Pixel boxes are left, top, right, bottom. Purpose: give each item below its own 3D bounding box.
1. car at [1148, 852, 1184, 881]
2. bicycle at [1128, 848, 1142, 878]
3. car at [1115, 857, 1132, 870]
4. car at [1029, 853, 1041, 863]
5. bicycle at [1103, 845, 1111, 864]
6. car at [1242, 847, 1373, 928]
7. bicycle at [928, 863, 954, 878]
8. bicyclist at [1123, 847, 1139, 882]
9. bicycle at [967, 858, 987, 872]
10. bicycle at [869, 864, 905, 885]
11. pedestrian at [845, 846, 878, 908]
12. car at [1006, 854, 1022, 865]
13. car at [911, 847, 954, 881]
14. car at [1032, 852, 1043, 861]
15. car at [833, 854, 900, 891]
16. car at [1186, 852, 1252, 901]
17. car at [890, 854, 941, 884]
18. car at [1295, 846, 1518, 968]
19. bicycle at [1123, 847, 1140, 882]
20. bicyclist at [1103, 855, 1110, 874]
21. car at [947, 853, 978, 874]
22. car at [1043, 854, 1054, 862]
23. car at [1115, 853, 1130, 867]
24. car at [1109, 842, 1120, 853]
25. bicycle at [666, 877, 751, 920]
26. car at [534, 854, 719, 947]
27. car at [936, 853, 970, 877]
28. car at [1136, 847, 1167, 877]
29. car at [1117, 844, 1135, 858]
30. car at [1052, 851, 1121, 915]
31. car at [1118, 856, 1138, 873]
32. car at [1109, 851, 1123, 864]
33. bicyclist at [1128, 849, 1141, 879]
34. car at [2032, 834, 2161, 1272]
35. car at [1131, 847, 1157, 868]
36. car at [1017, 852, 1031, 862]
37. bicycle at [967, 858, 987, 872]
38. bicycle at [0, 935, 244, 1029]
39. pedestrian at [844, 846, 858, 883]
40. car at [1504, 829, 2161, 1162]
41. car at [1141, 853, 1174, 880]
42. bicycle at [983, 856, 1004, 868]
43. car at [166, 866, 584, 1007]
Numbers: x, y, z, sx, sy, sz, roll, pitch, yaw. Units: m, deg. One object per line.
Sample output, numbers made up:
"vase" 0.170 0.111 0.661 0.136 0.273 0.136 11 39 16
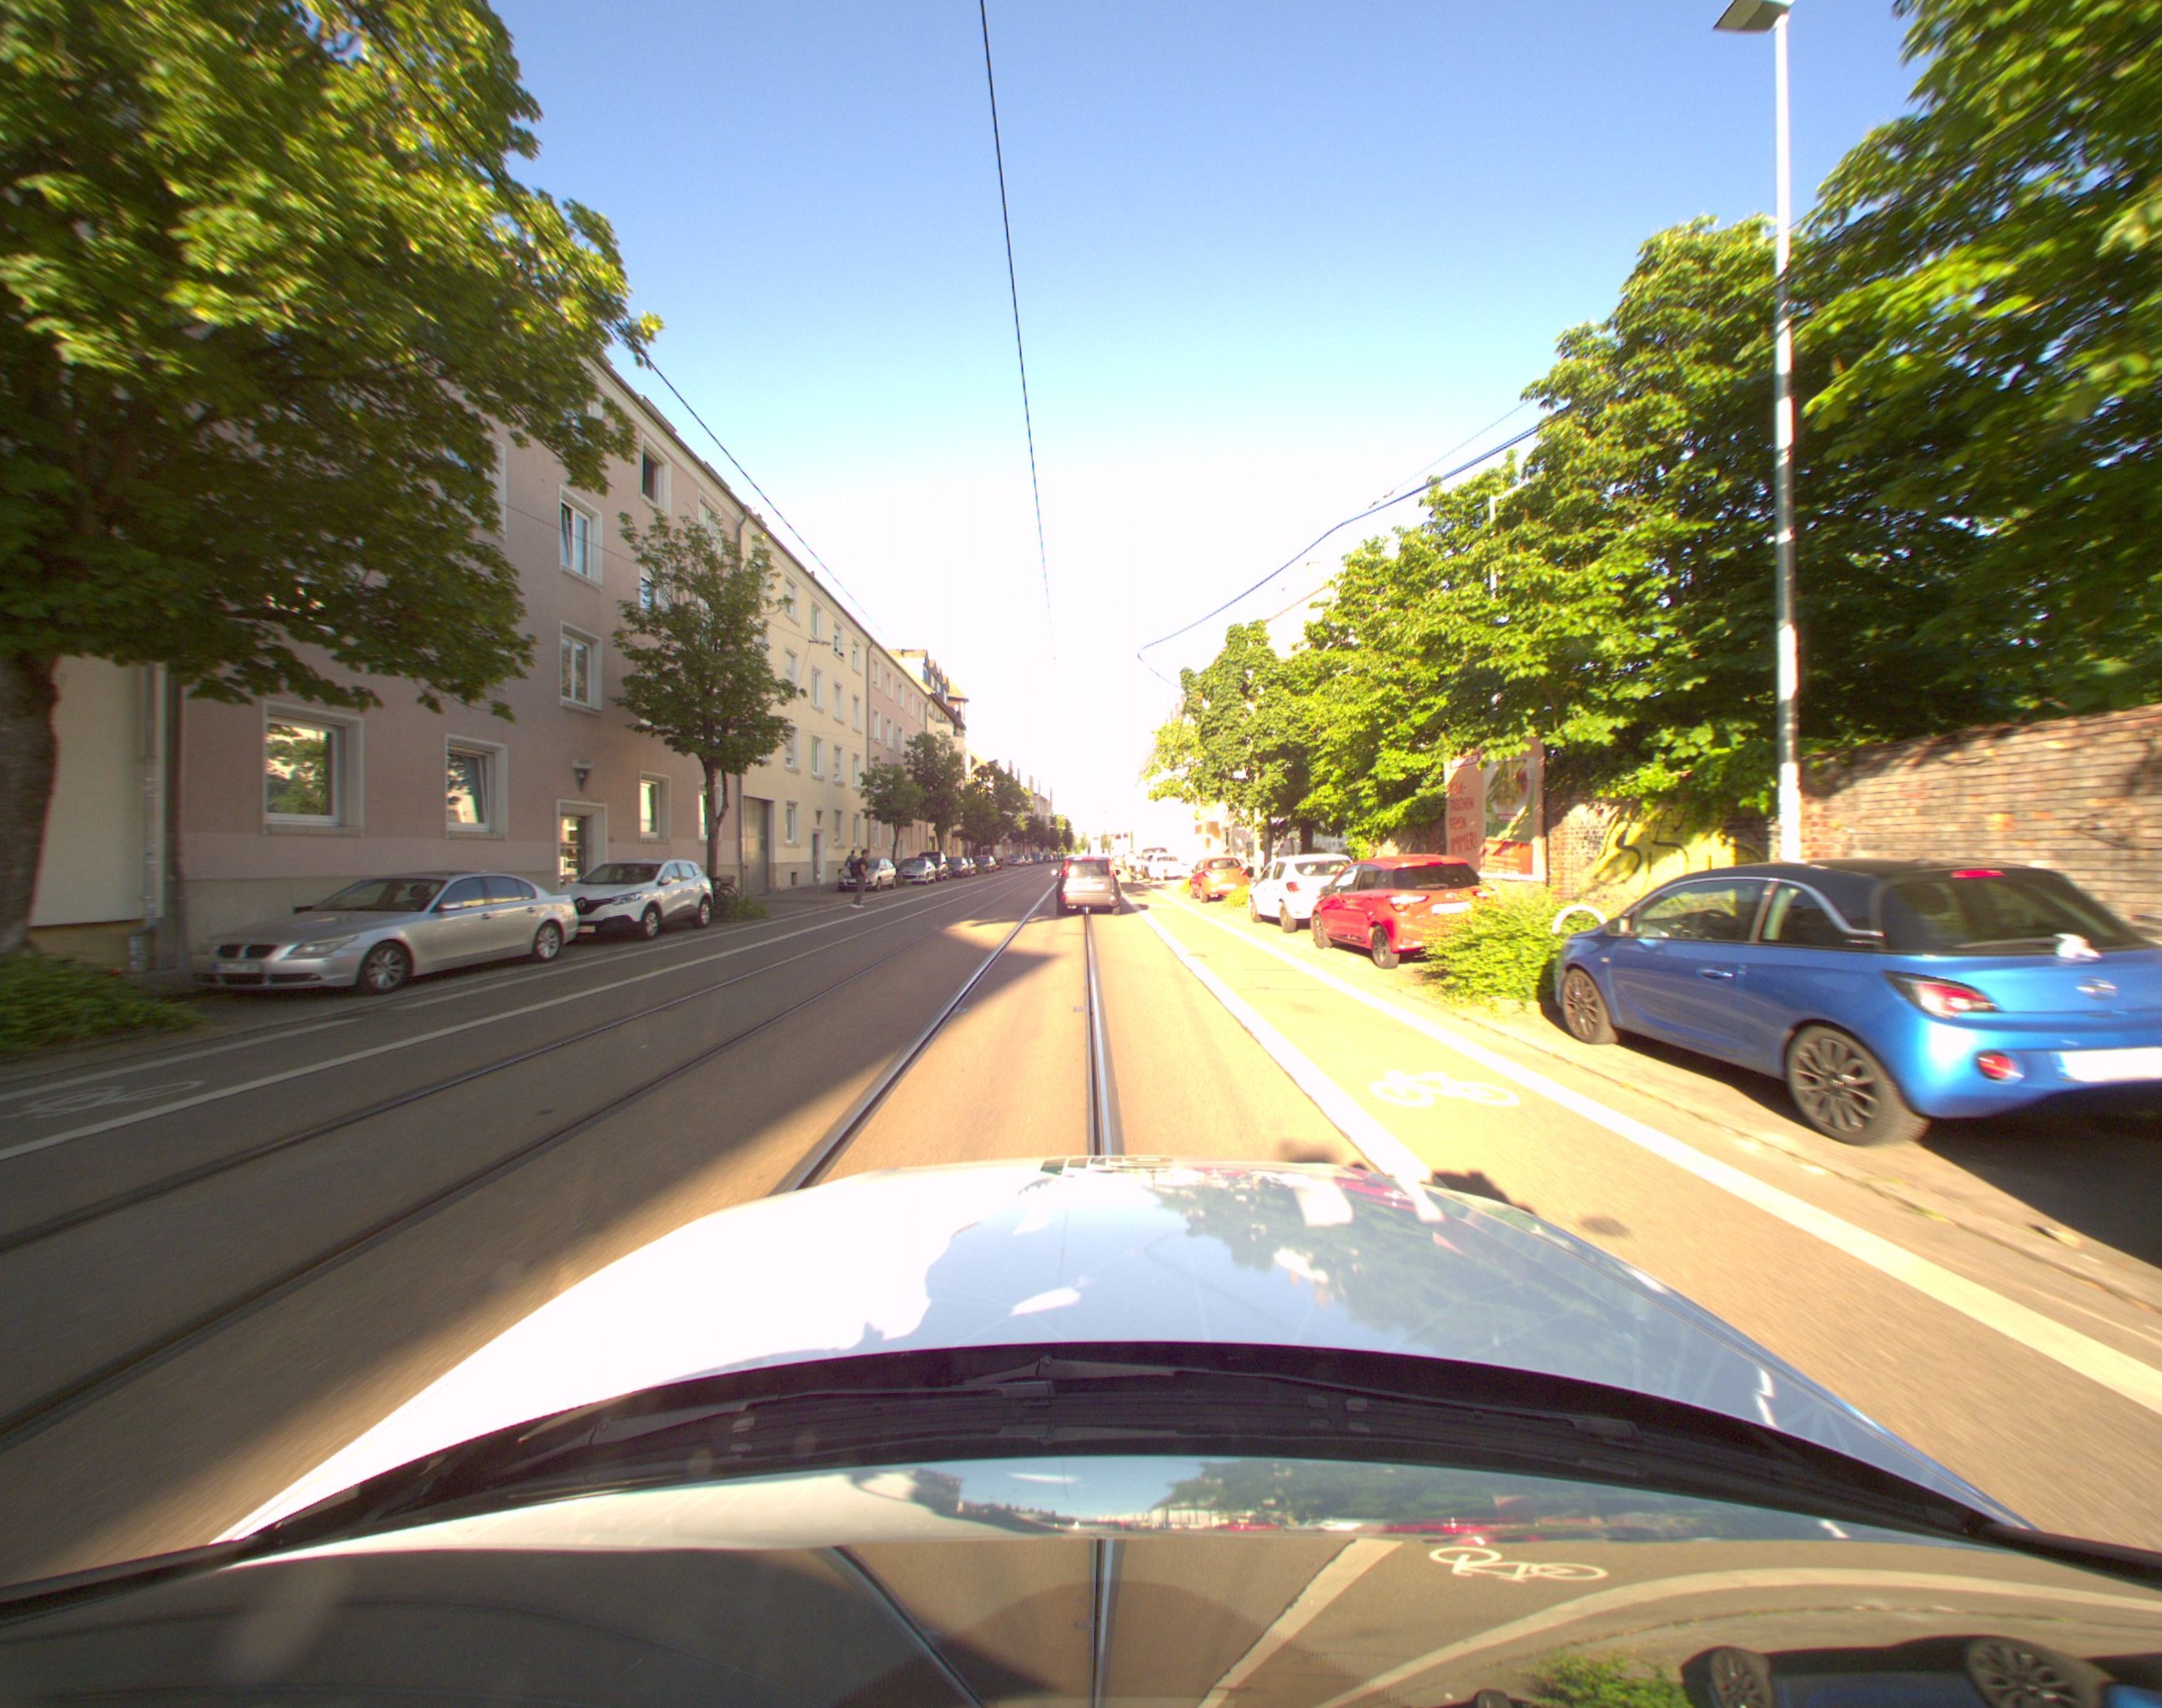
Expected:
"car" 4.767 0.680 46.087 1.650 1.571 3.498 1 0 -1
"bicycle" 3.208 0.531 48.750 0.673 1.747 2.157 1 0 -1
"car" 4.723 1.045 90.775 1.578 1.405 3.375 1 0 -1
"car" -7.431 0.598 131.601 1.701 1.496 3.722 1 0 1
"bicycle" 2.786 0.031 87.605 0.739 2.013 2.811 1 0 -1
"car" 4.823 0.661 17.906 1.684 1.530 3.998 -2 0 -1
"bicycle" -9.254 1.083 53.921 1.629 0.937 0.516 1 0 -4
"bicyclist" 2.548 0.547 41.567 0.697 1.759 0.757 1 0 -1
"bicycle" -9.024 0.916 70.762 1.725 1.196 0.372 1 0 -4
"bicycle" -9.559 0.983 40.118 1.659 1.001 0.477 1 0 2
"pedestrian" -6.583 0.670 24.356 0.852 1.776 0.730 -2 1 -20
"car" -8.820 0.724 108.020 1.701 1.496 3.722 1 0 1
"car" -9.145 0.592 50.435 1.803 1.943 4.333 1 0 0
"car" -7.266 0.372 136.459 1.701 1.496 3.722 1 0 1
"car" -9.369 0.787 35.840 1.803 1.508 4.190 1 0 0
"car" 4.618 0.719 27.682 1.630 1.508 3.396 -3 0 0
"car" -9.017 0.791 44.644 1.803 1.508 4.680 1 0 0
"car" 4.776 0.700 12.611 1.685 1.530 3.996 -2 0 -2
"bicycle" 2.557 0.522 41.555 0.673 1.747 2.157 1 0 -1
"bicyclist" 2.778 1.099 87.617 0.713 2.013 0.831 1 0 -1
"car" -9.149 0.719 63.168 1.803 1.619 4.063 1 0 0
"car" -6.096 0.793 152.256 1.701 1.496 3.722 1 0 1
"car" 4.843 0.696 95.316 1.578 1.599 3.375 1 0 -1
"car" 5.049 -0.996 122.801 1.578 1.599 3.375 1 0 -1
"bicycle" -9.387 1.117 20.536 1.918 1.046 0.476 1 0 1
"car" -9.220 0.848 16.964 1.648 1.668 4.290 1 0 -4
"car" -9.033 0.755 57.785 1.803 1.619 4.063 1 0 0
"car" 4.782 0.543 55.940 1.650 1.944 4.663 1 0 0
"car" 4.525 -0.298 82.166 1.578 1.405 3.375 1 0 -1
"car" 0.111 0.698 21.760 1.645 1.541 4.233 1 0 0
"car" 4.392 0.970 76.518 1.578 1.405 3.375 -4 0 -1
"car" 4.473 0.495 103.324 1.578 1.599 3.375 1 0 -1
"bicyclist" 3.200 0.587 48.785 0.697 1.759 0.757 1 0 -1
"car" 4.503 0.674 1.010 1.682 1.530 4.359 -2 0 3
"car" 4.705 0.262 61.033 1.650 1.500 3.129 1 0 -1
"car" -8.529 0.410 122.555 1.701 1.496 3.722 1 0 1
"bicycle" -8.974 0.931 70.367 1.725 1.196 0.372 1 0 -4
"bicycle" -9.510 1.239 7.952 2.121 0.824 0.477 1 0 -1
"pedestrian" -11.231 0.509 39.752 0.534 1.826 0.542 1 0 -1
"car" 4.822 0.666 5.815 1.682 1.530 4.003 -2 0 3
"car" 4.725 0.729 50.516 1.650 1.571 3.875 1 0 0
"bicycle" -9.442 0.821 87.735 2.272 1.288 0.756 1 0 -5
"car" -9.276 0.953 11.393 1.682 1.475 4.661 1 0 1
